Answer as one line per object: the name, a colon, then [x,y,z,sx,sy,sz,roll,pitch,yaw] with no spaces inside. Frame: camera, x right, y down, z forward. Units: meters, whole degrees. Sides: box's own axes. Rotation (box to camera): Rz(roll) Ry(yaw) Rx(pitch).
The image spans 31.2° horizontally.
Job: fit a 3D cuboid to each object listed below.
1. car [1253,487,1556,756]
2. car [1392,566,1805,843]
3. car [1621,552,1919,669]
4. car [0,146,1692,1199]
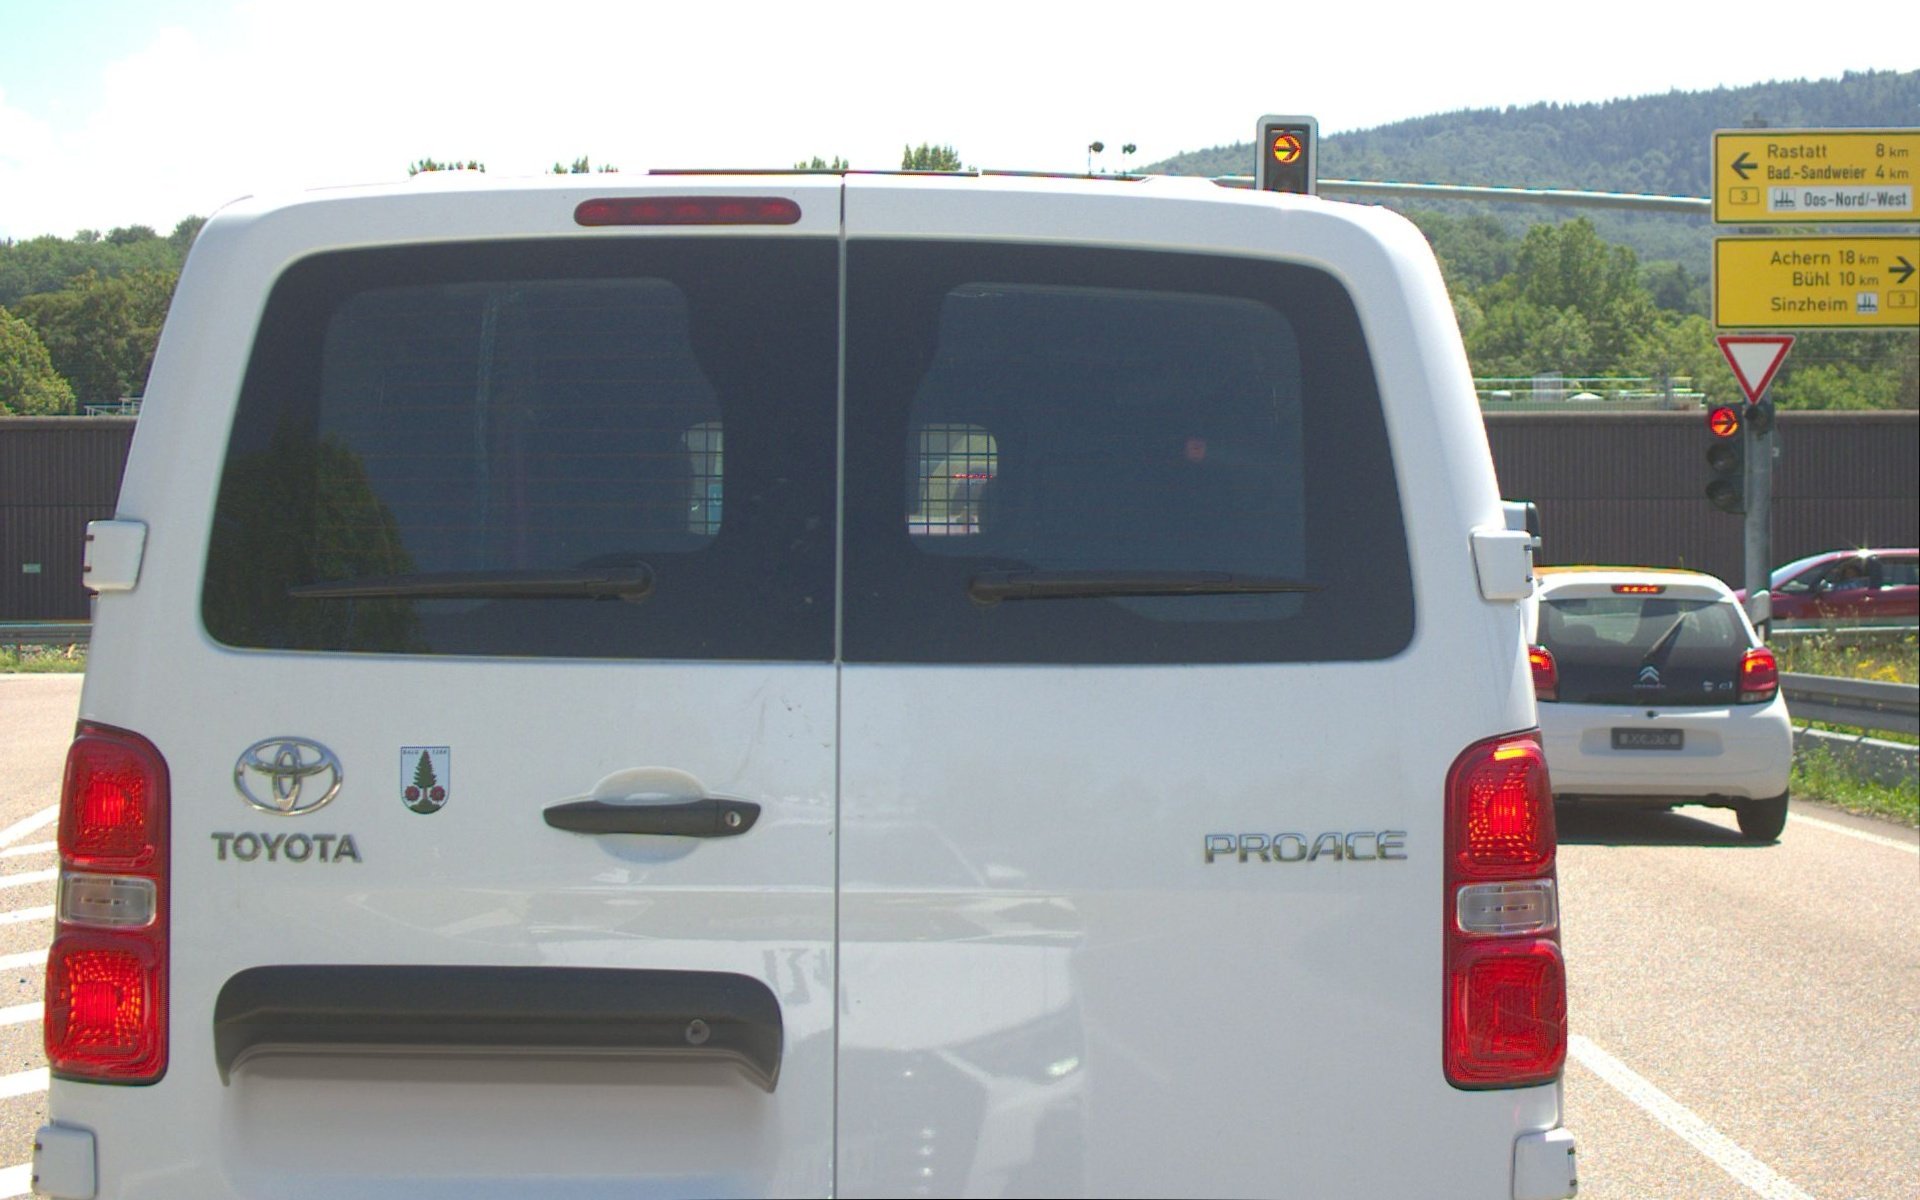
car: [3.537,0.136,28.199,1.928,1.993,4.837,1,1,1]
car: [3.546,0.528,19.640,1.656,1.426,3.366,1,1,-1]
car: [11.961,0.141,49.822,4.309,1.651,2.000,0,1,-3]
car: [-0.213,0.448,5.656,1.886,1.880,4.000,1,1,-1]
